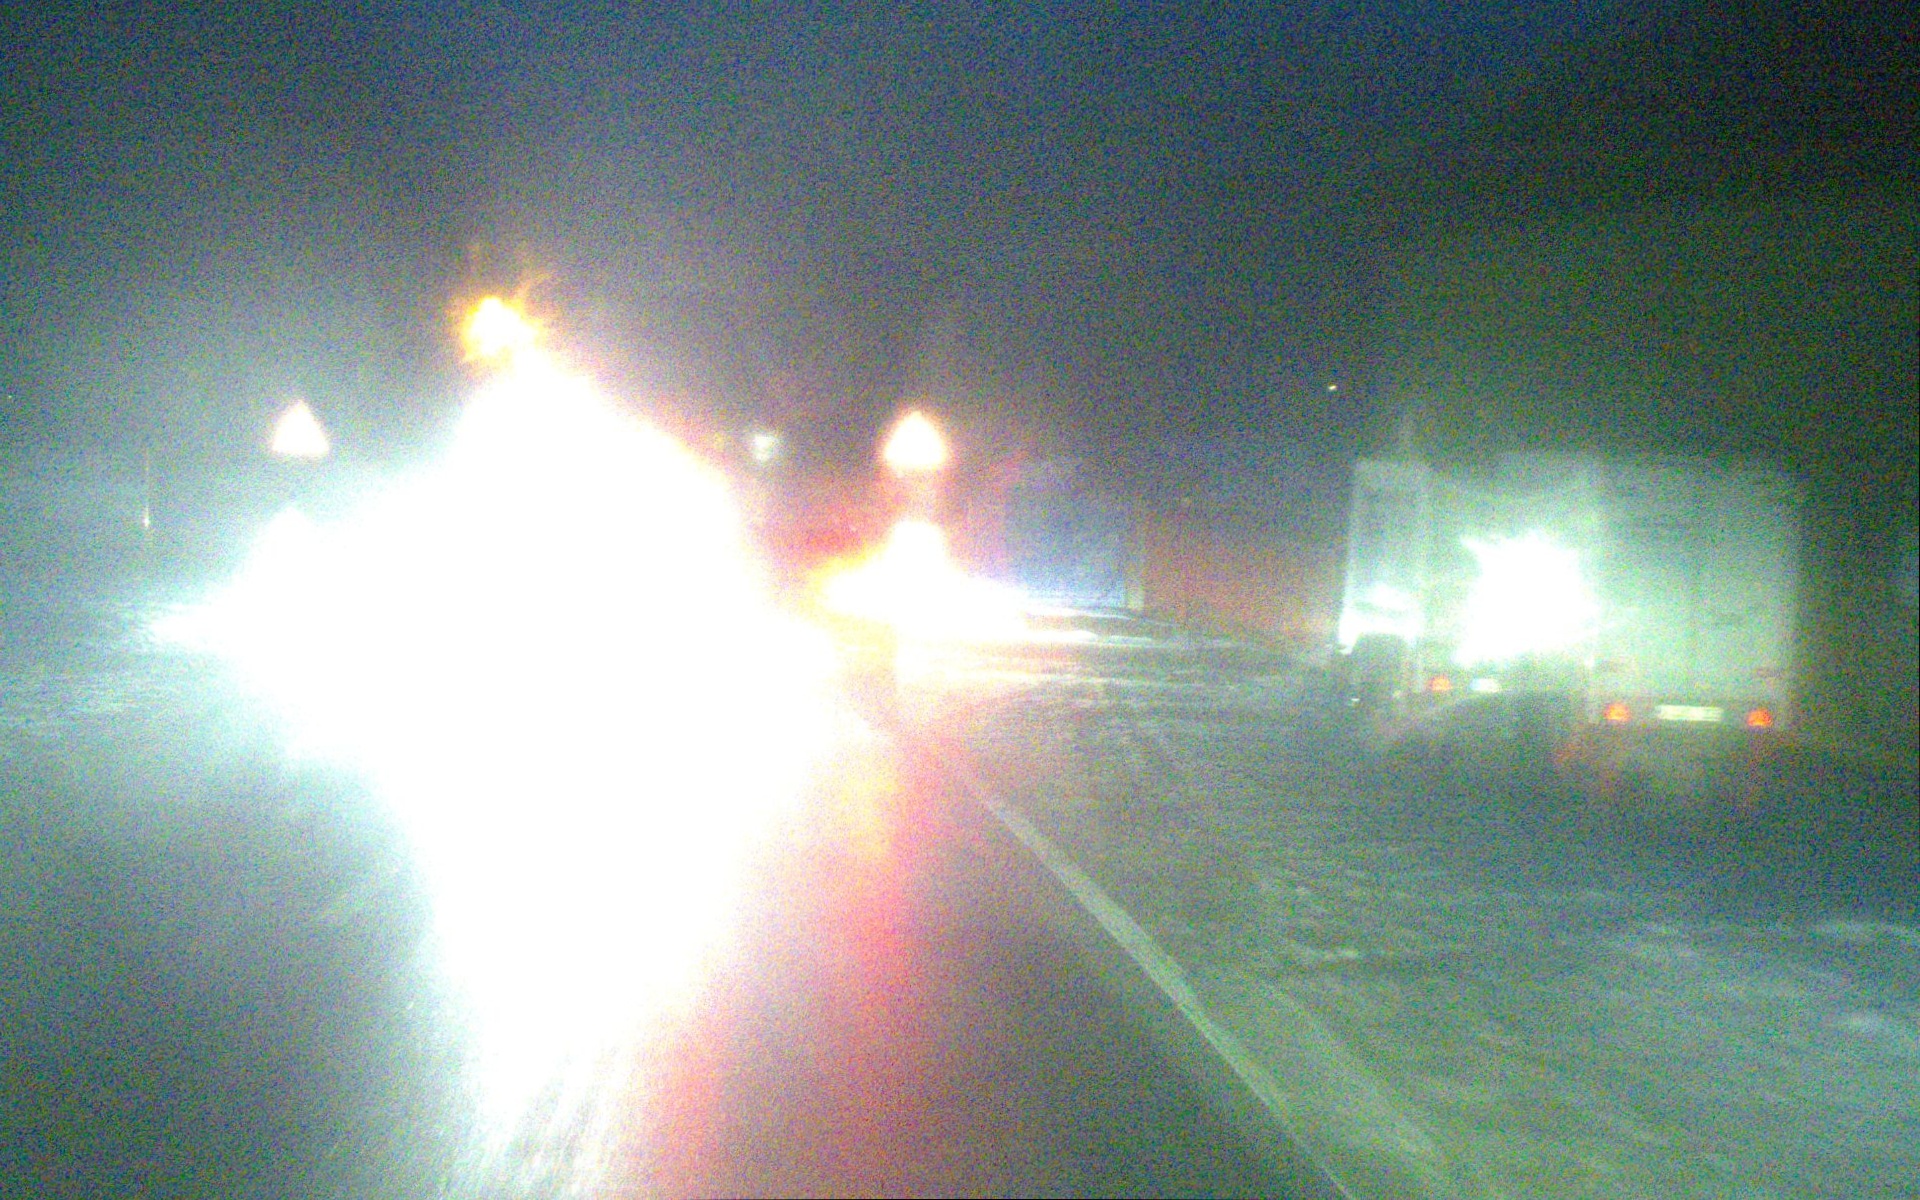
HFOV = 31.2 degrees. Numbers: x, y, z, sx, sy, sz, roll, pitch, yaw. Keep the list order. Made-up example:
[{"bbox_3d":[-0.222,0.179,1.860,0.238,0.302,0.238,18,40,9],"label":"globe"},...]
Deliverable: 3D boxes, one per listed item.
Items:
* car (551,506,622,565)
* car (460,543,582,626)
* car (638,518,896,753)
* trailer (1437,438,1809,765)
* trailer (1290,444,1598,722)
[{"bbox_3d":[-10.225,-1.767,94.280,1.801,1.504,3.616,2,1,-5],"label":"car"},{"bbox_3d":[-8.058,-0.307,63.417,1.993,1.455,4.899,0,1,-5],"label":"car"},{"bbox_3d":[-1.545,0.217,26.647,1.801,1.623,3.616,2,1,-5],"label":"car"},{"bbox_3d":[5.279,-0.036,27.982,1.605,2.344,4.432,4,1,-6],"label":"trailer"},{"bbox_3d":[4.518,-0.206,32.789,1.629,2.356,4.654,4,1,-7],"label":"trailer"}]
